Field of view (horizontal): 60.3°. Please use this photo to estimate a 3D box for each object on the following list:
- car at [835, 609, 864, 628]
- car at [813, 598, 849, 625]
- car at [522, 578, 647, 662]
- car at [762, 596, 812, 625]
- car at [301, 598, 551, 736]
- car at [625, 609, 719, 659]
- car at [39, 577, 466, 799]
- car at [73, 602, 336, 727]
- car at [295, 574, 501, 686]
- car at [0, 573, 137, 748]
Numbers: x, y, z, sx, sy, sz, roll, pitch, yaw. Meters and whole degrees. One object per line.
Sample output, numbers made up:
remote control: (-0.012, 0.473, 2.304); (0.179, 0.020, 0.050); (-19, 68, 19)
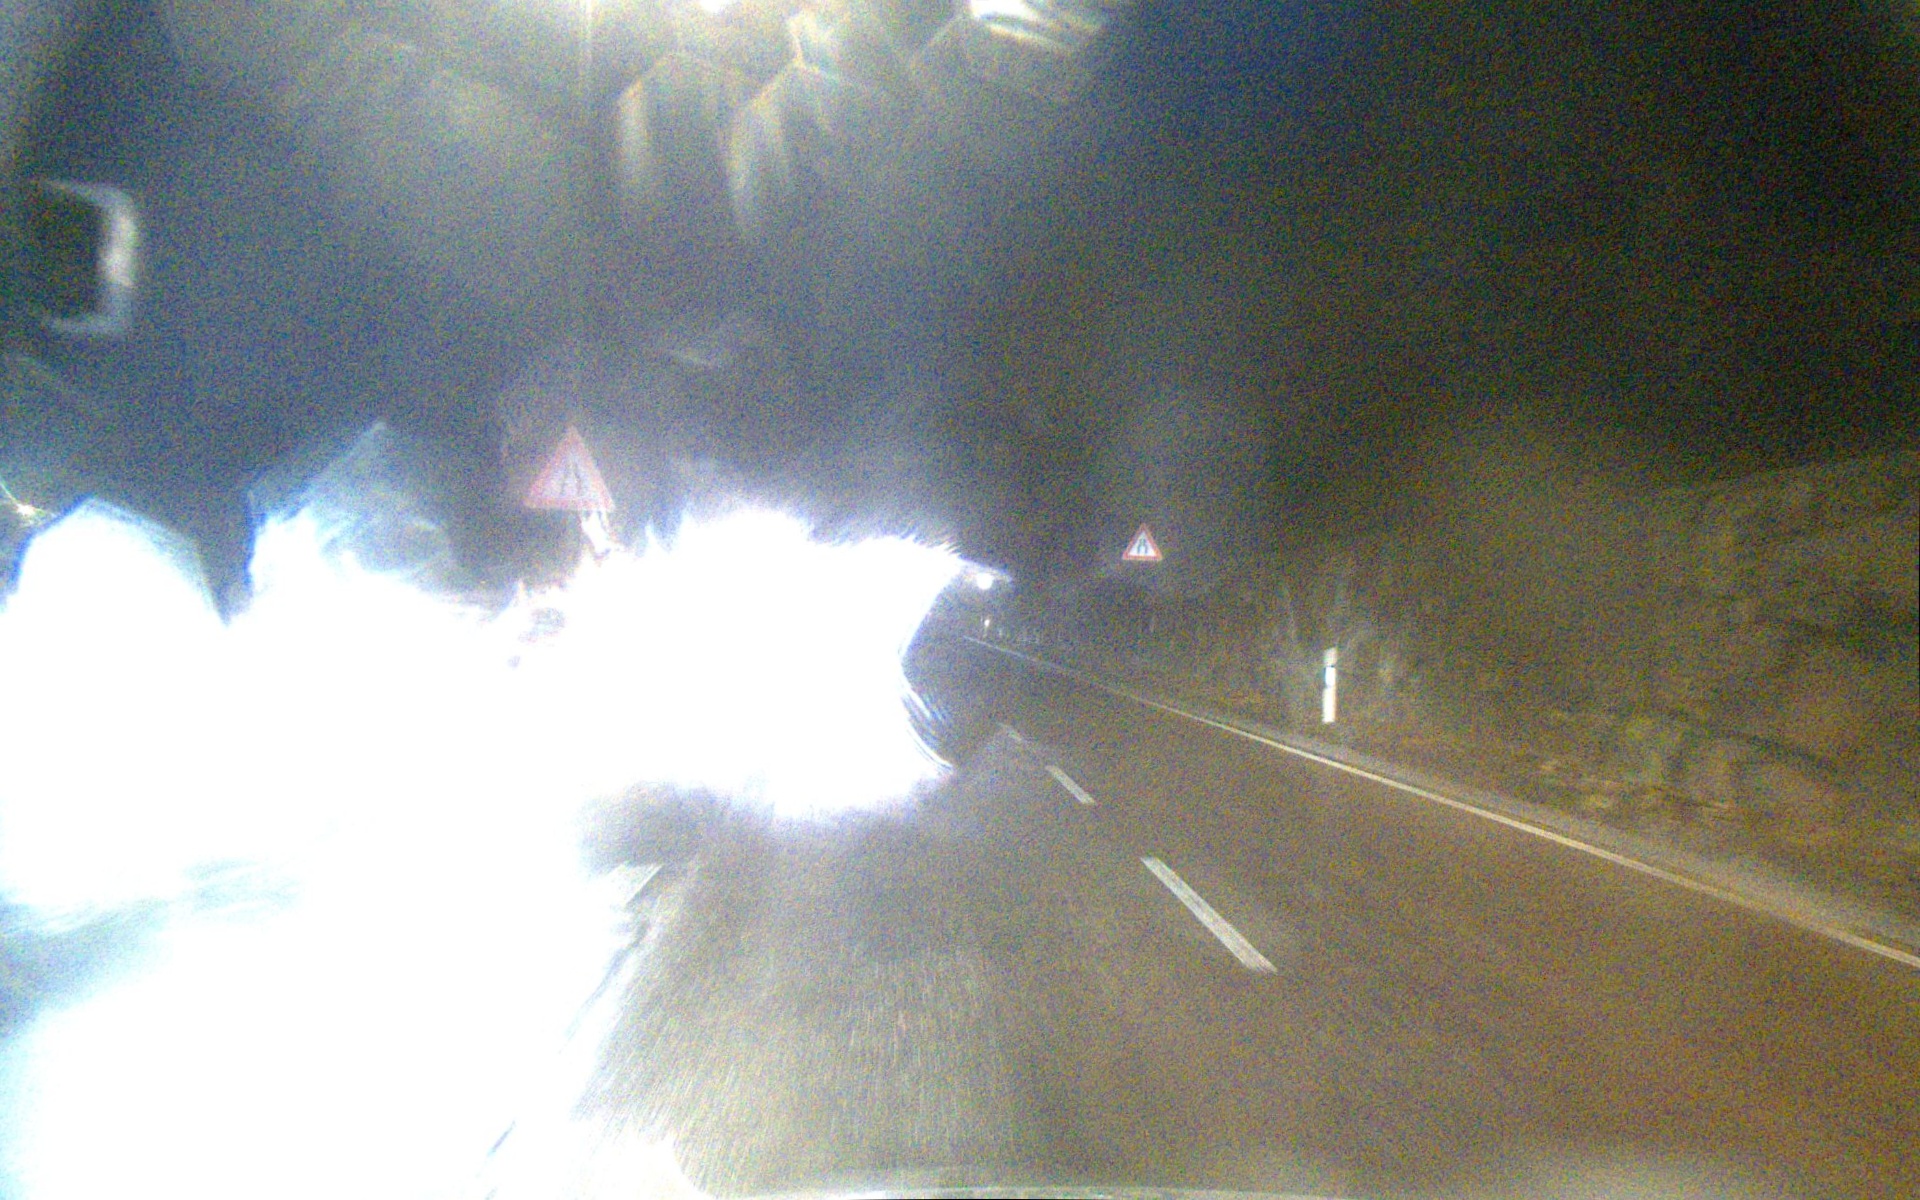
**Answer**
car: (-9.666, 1.577, 145.503); (2.066, 1.603, 4.681); (1, 0, 2)
car: (-9.013, 0.782, 115.798); (1.952, 1.897, 5.320); (0, 0, 2)
car: (-9.796, 0.508, 43.567); (2.109, 2.049, 4.995); (1, 0, 0)
car: (-9.419, 0.555, 90.501); (2.040, 1.569, 4.899); (0, 0, 2)
car: (-6.845, 0.826, 21.737); (1.917, 1.598, 4.465); (1, -1, -2)
car: (-9.760, 1.113, 56.429); (2.136, 1.586, 5.205); (0, 0, 2)
car: (-6.359, 0.741, 15.639); (1.953, 1.728, 5.010); (1, -1, -2)
car: (-9.846, 0.800, 21.870); (1.785, 1.478, 3.601); (1, -1, 0)
car: (-9.665, 0.489, 28.849); (1.952, 1.777, 4.499); (1, 0, 1)
car: (-9.836, 0.528, 14.908); (2.311, 1.583, 5.158); (1, 0, -1)
